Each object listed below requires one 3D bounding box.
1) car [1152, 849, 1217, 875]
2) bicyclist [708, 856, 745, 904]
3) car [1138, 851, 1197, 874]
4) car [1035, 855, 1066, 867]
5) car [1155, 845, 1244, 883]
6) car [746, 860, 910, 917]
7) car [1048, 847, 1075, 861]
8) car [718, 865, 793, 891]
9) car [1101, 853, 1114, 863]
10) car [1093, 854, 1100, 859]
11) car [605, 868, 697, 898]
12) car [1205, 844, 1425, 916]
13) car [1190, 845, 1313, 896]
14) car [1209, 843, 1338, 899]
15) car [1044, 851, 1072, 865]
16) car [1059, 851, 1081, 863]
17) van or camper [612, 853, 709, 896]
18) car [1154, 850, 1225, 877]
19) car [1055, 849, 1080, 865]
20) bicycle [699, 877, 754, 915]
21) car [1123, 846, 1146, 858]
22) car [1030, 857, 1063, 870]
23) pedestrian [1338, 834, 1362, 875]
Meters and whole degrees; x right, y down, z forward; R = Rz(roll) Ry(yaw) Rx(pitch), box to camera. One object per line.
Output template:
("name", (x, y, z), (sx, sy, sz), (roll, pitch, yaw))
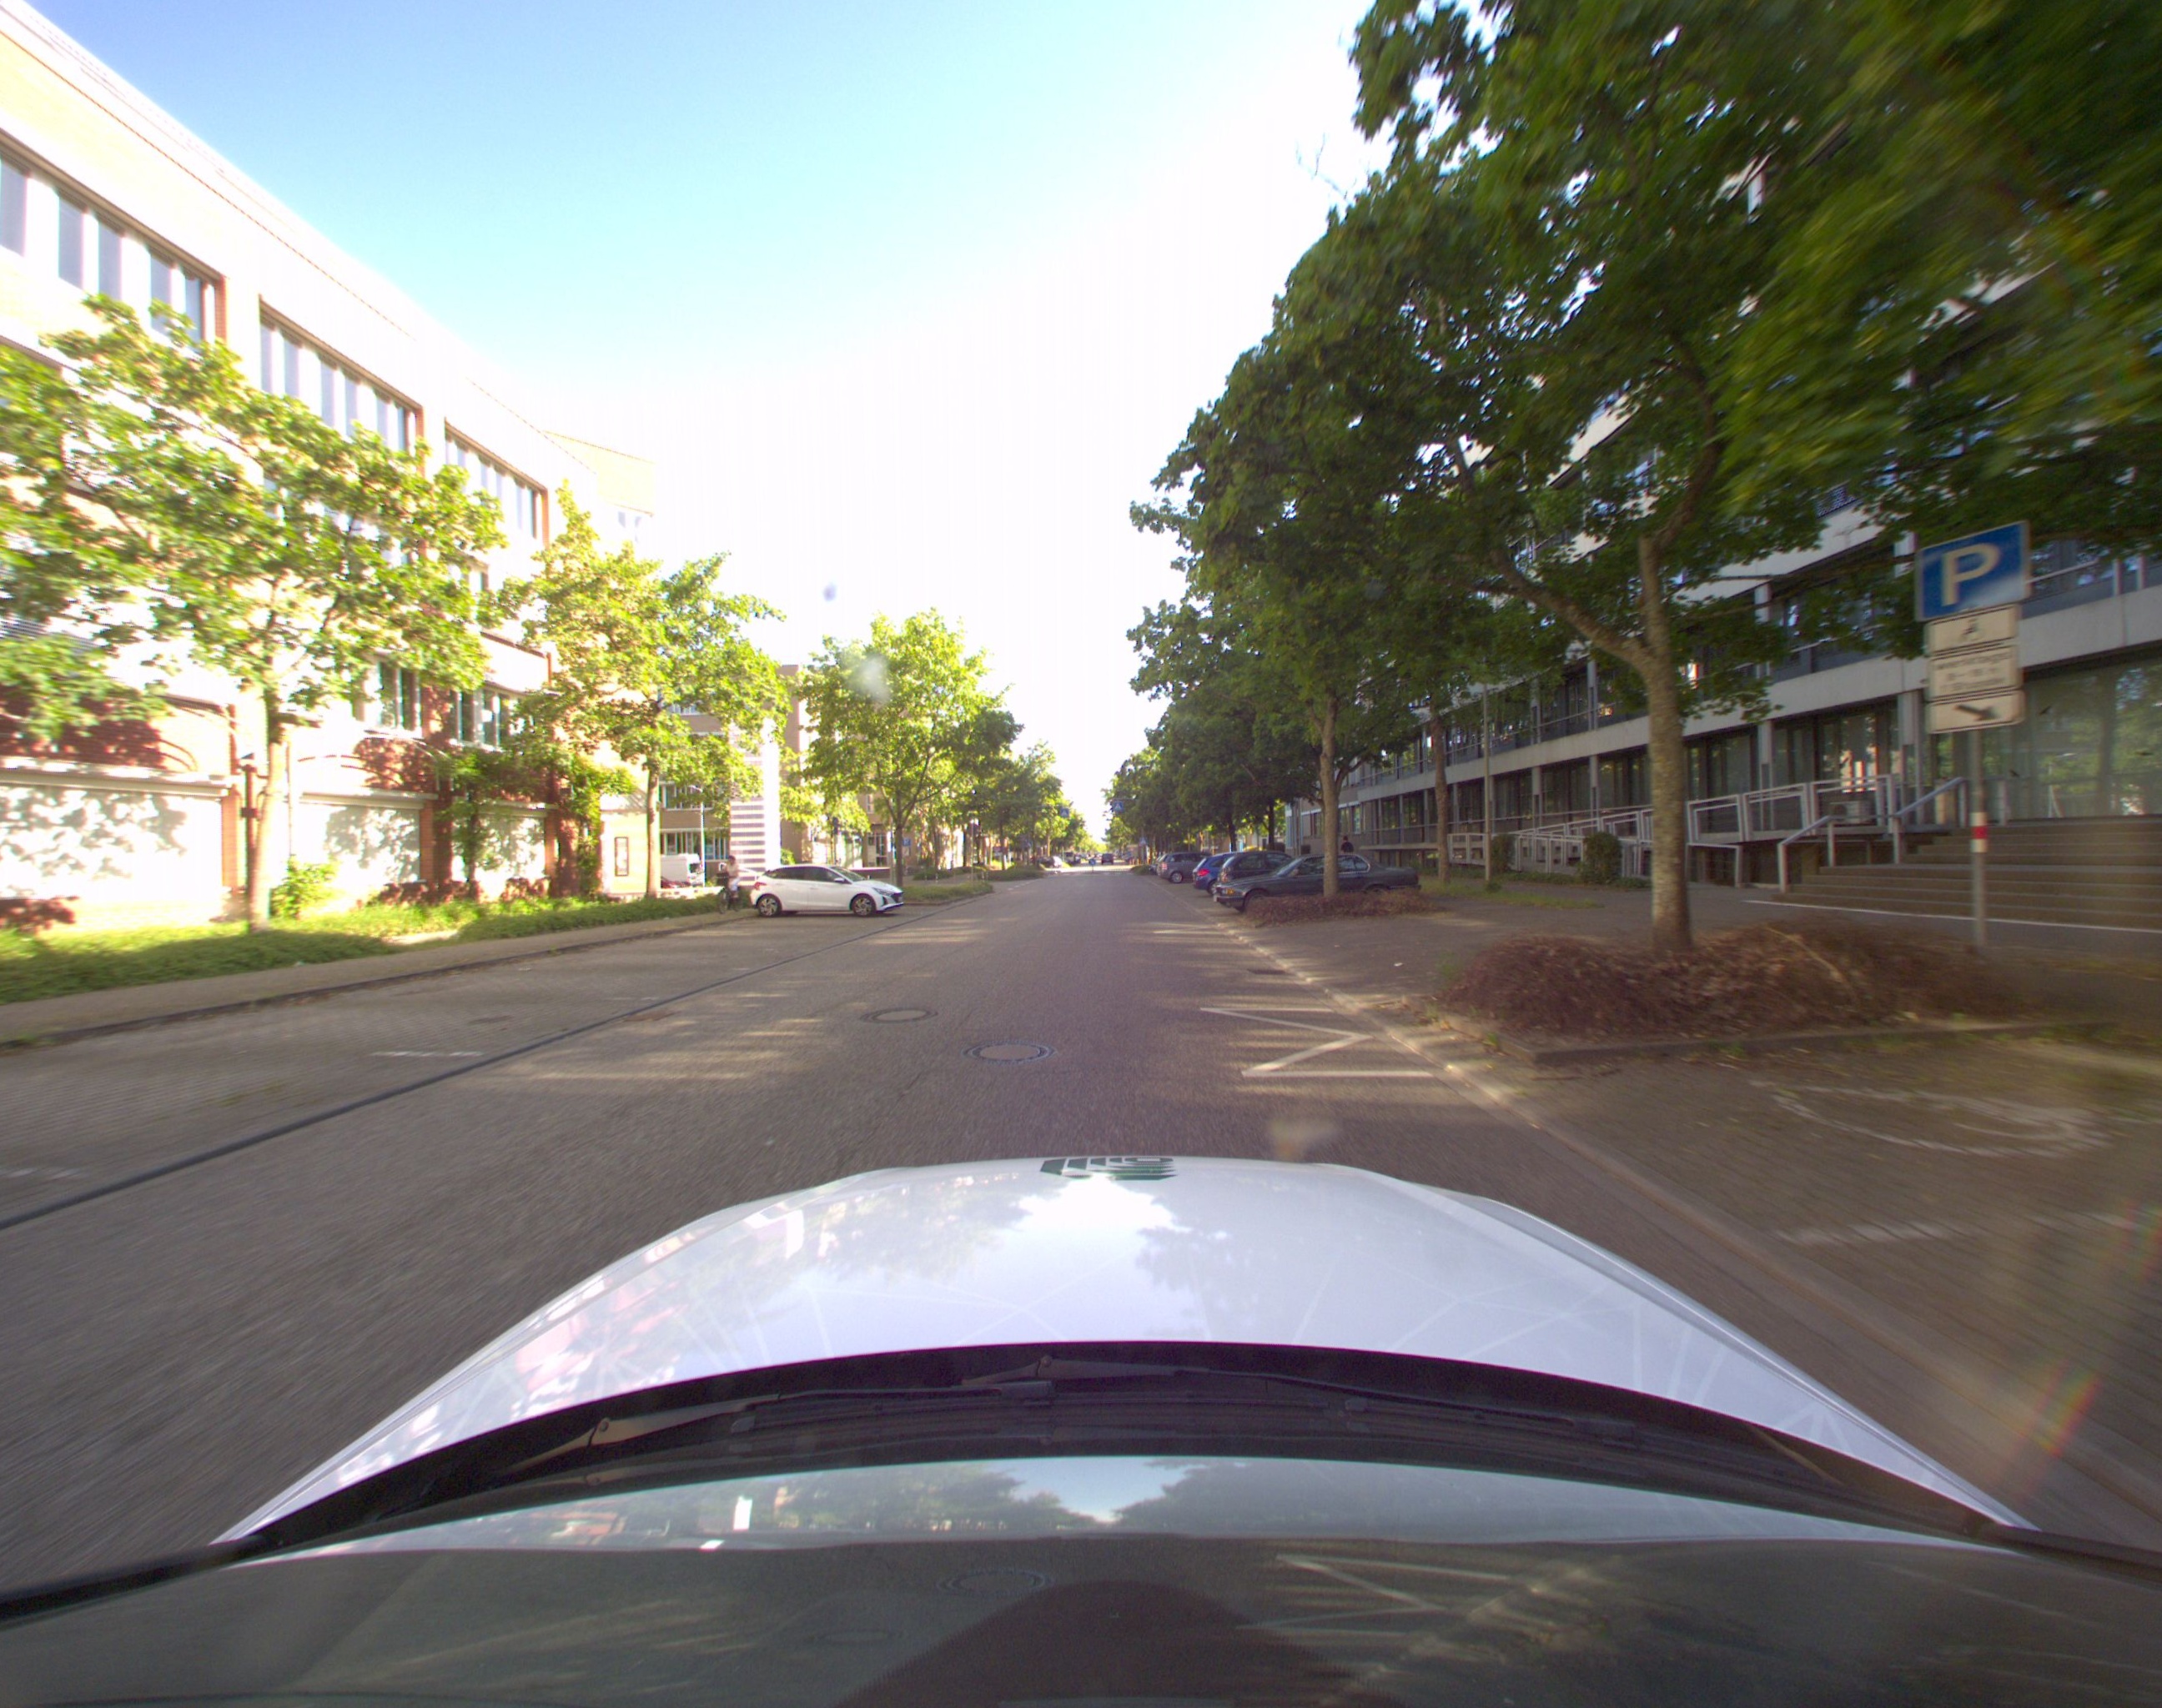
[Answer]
("car", (7.130, 0.514, 56.175), (4.179, 1.536, 1.812), (-3, 0, -2))
("bicyclist", (-10.384, 0.756, 23.873), (0.602, 1.353, 0.914), (-2, 0, 6))
("car", (6.493, 0.604, 61.250), (4.179, 1.473, 1.812), (-3, 0, -2))
("car", (-3.898, 0.852, 102.282), (3.841, 1.473, 1.810), (0, 0, -5))
("car", (6.178, 0.501, 42.681), (4.339, 1.704, 1.812), (-3, 0, -2))
("car", (-6.963, 0.937, 22.741), (3.973, 1.486, 1.807), (-1, 0, 0))
("car", (-3.018, -0.057, 127.781), (3.967, 2.013, 2.003), (-2, 0, 5))
("car", (-22.029, 1.604, 55.261), (4.176, 1.477, 2.001), (-2, 1, 2))
("car", (4.277, 0.593, 130.886), (1.986, 1.640, 4.001), (0, 0, 2))
("car", (4.477, 0.679, 229.044), (1.806, 1.525, 4.003), (-2, 0, 2))
("car", (-24.566, 1.691, 46.649), (4.176, 1.477, 2.000), (-3, -3, 2))
("car", (5.643, 0.617, 20.099), (4.810, 1.420, 2.031), (-3, 0, -1))
("car", (5.910, 0.551, 28.546), (3.933, 1.514, 1.814), (-3, 0, 3))
("car", (6.051, 0.526, 25.895), (3.628, 1.514, 1.813), (-3, 0, 1))
("car", (-3.517, 0.599, 124.414), (3.967, 2.013, 2.003), (-2, 0, 5))
("car", (-2.016, 0.524, 152.182), (3.974, 2.013, 2.000), (-2, 0, 0))
("van or camper", (-28.621, 1.367, 55.535), (5.349, 2.674, 2.181), (-2, 1, 1))
("car", (6.830, 0.577, 51.578), (4.179, 1.448, 1.812), (-3, 0, -2))
("car", (-2.187, 0.472, 132.949), (3.966, 2.541, 1.866), (-1, 0, 6))
("bicycle", (-10.363, 1.213, 23.867), (0.602, 0.981, 1.867), (-2, 0, 6))
("car", (9.604, -0.369, 146.563), (3.974, 2.013, 2.000), (-2, 0, 0))
("car", (-4.108, 1.137, 97.470), (3.842, 1.473, 1.809), (0, 0, -6))
("pedestrian", (11.701, 0.034, 35.450), (0.605, 1.745, 1.191), (-2, 0, 2))
